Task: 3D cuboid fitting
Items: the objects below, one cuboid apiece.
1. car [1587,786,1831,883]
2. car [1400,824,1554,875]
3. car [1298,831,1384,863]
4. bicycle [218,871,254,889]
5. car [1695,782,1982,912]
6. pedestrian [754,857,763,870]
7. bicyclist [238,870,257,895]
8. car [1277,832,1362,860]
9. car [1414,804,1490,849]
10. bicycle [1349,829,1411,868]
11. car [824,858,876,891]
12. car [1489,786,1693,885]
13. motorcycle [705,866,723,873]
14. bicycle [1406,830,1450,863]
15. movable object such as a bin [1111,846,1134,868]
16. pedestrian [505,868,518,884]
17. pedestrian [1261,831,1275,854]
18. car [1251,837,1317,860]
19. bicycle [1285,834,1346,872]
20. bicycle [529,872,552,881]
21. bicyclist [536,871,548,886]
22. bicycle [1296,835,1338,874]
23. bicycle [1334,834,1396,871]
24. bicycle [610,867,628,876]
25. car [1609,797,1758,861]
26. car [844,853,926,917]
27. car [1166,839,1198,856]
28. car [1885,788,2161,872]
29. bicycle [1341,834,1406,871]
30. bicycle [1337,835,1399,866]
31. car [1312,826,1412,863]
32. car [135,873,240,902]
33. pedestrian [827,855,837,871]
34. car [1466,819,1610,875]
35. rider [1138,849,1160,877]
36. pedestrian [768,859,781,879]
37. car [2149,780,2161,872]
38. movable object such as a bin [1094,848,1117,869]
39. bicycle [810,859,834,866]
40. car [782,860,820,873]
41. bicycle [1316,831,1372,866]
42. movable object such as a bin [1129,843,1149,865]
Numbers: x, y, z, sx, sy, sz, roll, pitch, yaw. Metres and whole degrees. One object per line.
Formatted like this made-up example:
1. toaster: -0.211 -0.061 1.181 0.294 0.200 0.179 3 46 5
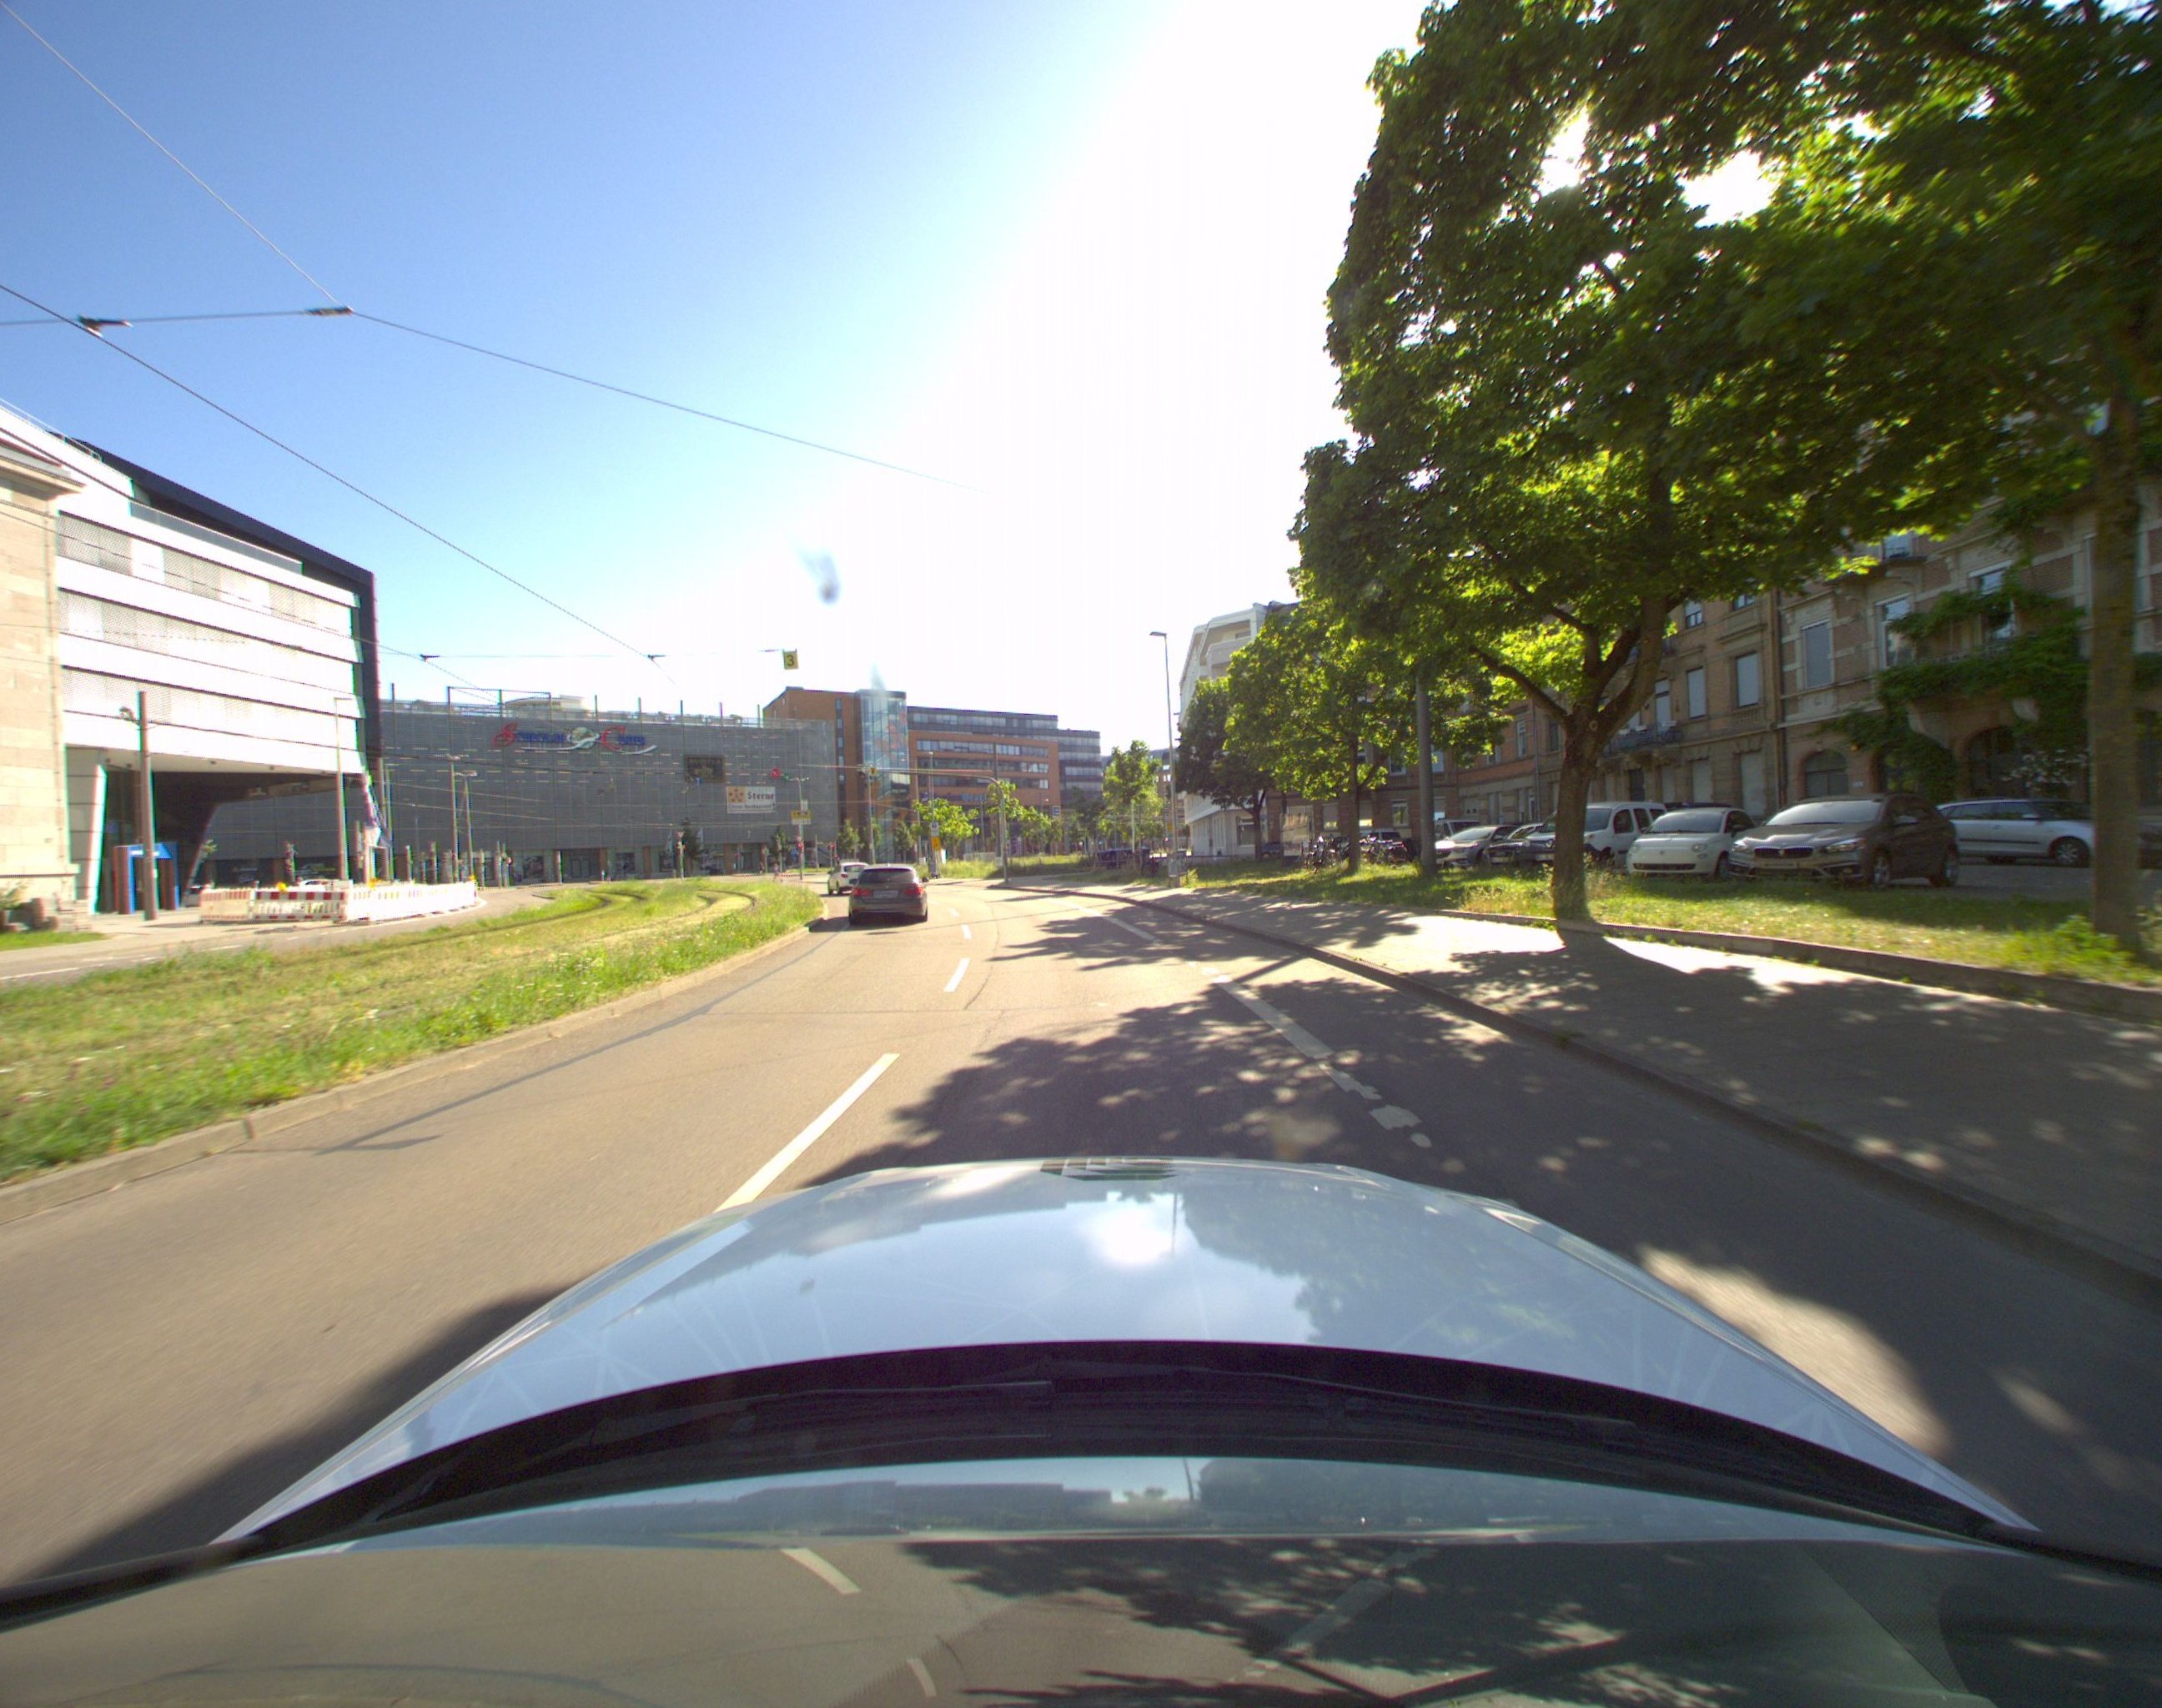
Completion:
1. car: 13.247 -0.419 17.145 4.891 1.647 2.082 -5 0 -27
2. car: 12.477 -0.170 25.587 4.768 1.380 2.026 -3 0 -31
3. car: 13.204 -0.344 41.422 3.842 1.441 1.749 -3 0 -18
4. bicycle: -57.836 1.767 55.739 1.590 1.107 0.726 -4 1 -41
5. car: 12.633 -0.161 13.565 4.523 1.727 1.982 -5 0 -27
6. pedestrian: -43.219 1.283 109.154 0.861 1.738 0.745 -3 0 -41
7. bicyclist: -57.275 1.941 55.955 0.789 1.648 0.682 -2 0 -37
8. car: 12.780 -0.439 43.671 4.058 1.337 1.827 -3 0 -21
9. car: 22.026 -1.619 48.587 2.339 2.357 5.194 -4 1 4
10. bicycle: 11.503 -0.211 31.370 2.088 1.365 0.786 -2 0 -3
11. car: -10.388 0.912 36.509 1.640 1.423 3.750 1 -2 -26
12. car: 12.371 -0.475 19.682 4.897 2.012 2.080 -5 0 -31
13. motorcycle: -53.003 2.253 117.724 2.219 1.042 1.050 -2 0 -35
14. bicycle: 14.872 -0.325 34.891 2.110 1.365 0.778 -2 0 -38
15. movable object such as a bin: 2.814 0.222 55.488 1.097 1.398 1.328 -2 0 23
16. pedestrian: -69.243 2.679 99.054 0.898 1.868 0.823 -2 0 8
17. pedestrian: 13.004 -0.800 56.589 0.634 1.577 0.776 -3 0 40
18. car: 14.165 -0.395 56.866 4.055 1.436 2.013 -2 0 30
19. bicycle: 9.080 -0.033 31.612 2.088 1.365 0.786 -2 0 -3
20. bicycle: -66.546 2.755 100.268 1.035 1.070 2.254 -2 0 15
21. bicyclist: -66.455 2.968 100.433 0.808 1.803 0.848 -2 0 13
22. bicycle: 8.489 0.004 29.235 0.760 1.290 1.607 -3 1 43
23. bicycle: 10.368 -0.067 29.783 1.949 1.192 0.842 -4 0 2
24. bicycle: -62.673 2.342 110.455 2.042 1.059 1.132 -3 0 -36
25. car: 21.498 -0.884 29.339 1.985 1.977 4.729 -4 1 3
26. car: -4.801 0.753 20.438 1.734 1.423 4.451 0 -1 -10
27. car: 13.708 -0.885 110.767 3.954 2.013 2.010 -2 0 18
28. car: 20.984 -0.523 17.959 1.988 1.529 4.512 -4 1 -1
29. bicycle: 10.328 -0.050 28.828 1.937 1.180 0.900 -4 0 2
30. bicycle: 11.378 -0.136 32.328 2.156 1.158 0.822 -2 0 -1
31. car: 13.312 -0.441 38.536 4.482 1.565 1.920 -3 0 -29
32. car: -61.076 2.251 55.795 4.523 1.635 1.819 -2 1 -36
33. pedestrian: -27.607 1.034 90.330 0.812 1.708 0.753 -2 0 -36
34. car: 12.716 -0.204 22.624 3.626 1.380 1.907 -3 0 -31
35. rider: 3.087 0.381 36.654 0.497 1.176 1.685 -2 1 20
36. pedestrian: -27.153 1.314 72.202 0.892 1.707 0.705 -2 0 -36
37. car: 20.737 -0.541 12.840 1.985 1.691 4.518 -2 0 4
38. movable object such as a bin: 1.670 0.301 55.548 1.059 1.398 1.311 -2 0 23
39. bicycle: -40.389 1.322 126.871 3.381 1.077 1.106 -1 0 -29
40. car: -37.782 1.685 109.860 4.521 1.494 1.478 -3 0 -35
41. bicycle: 11.189 -0.224 34.649 2.092 1.398 0.785 -2 0 -8
42. movable object such as a bin: 3.951 -0.013 55.240 1.019 1.398 1.096 -2 0 23
